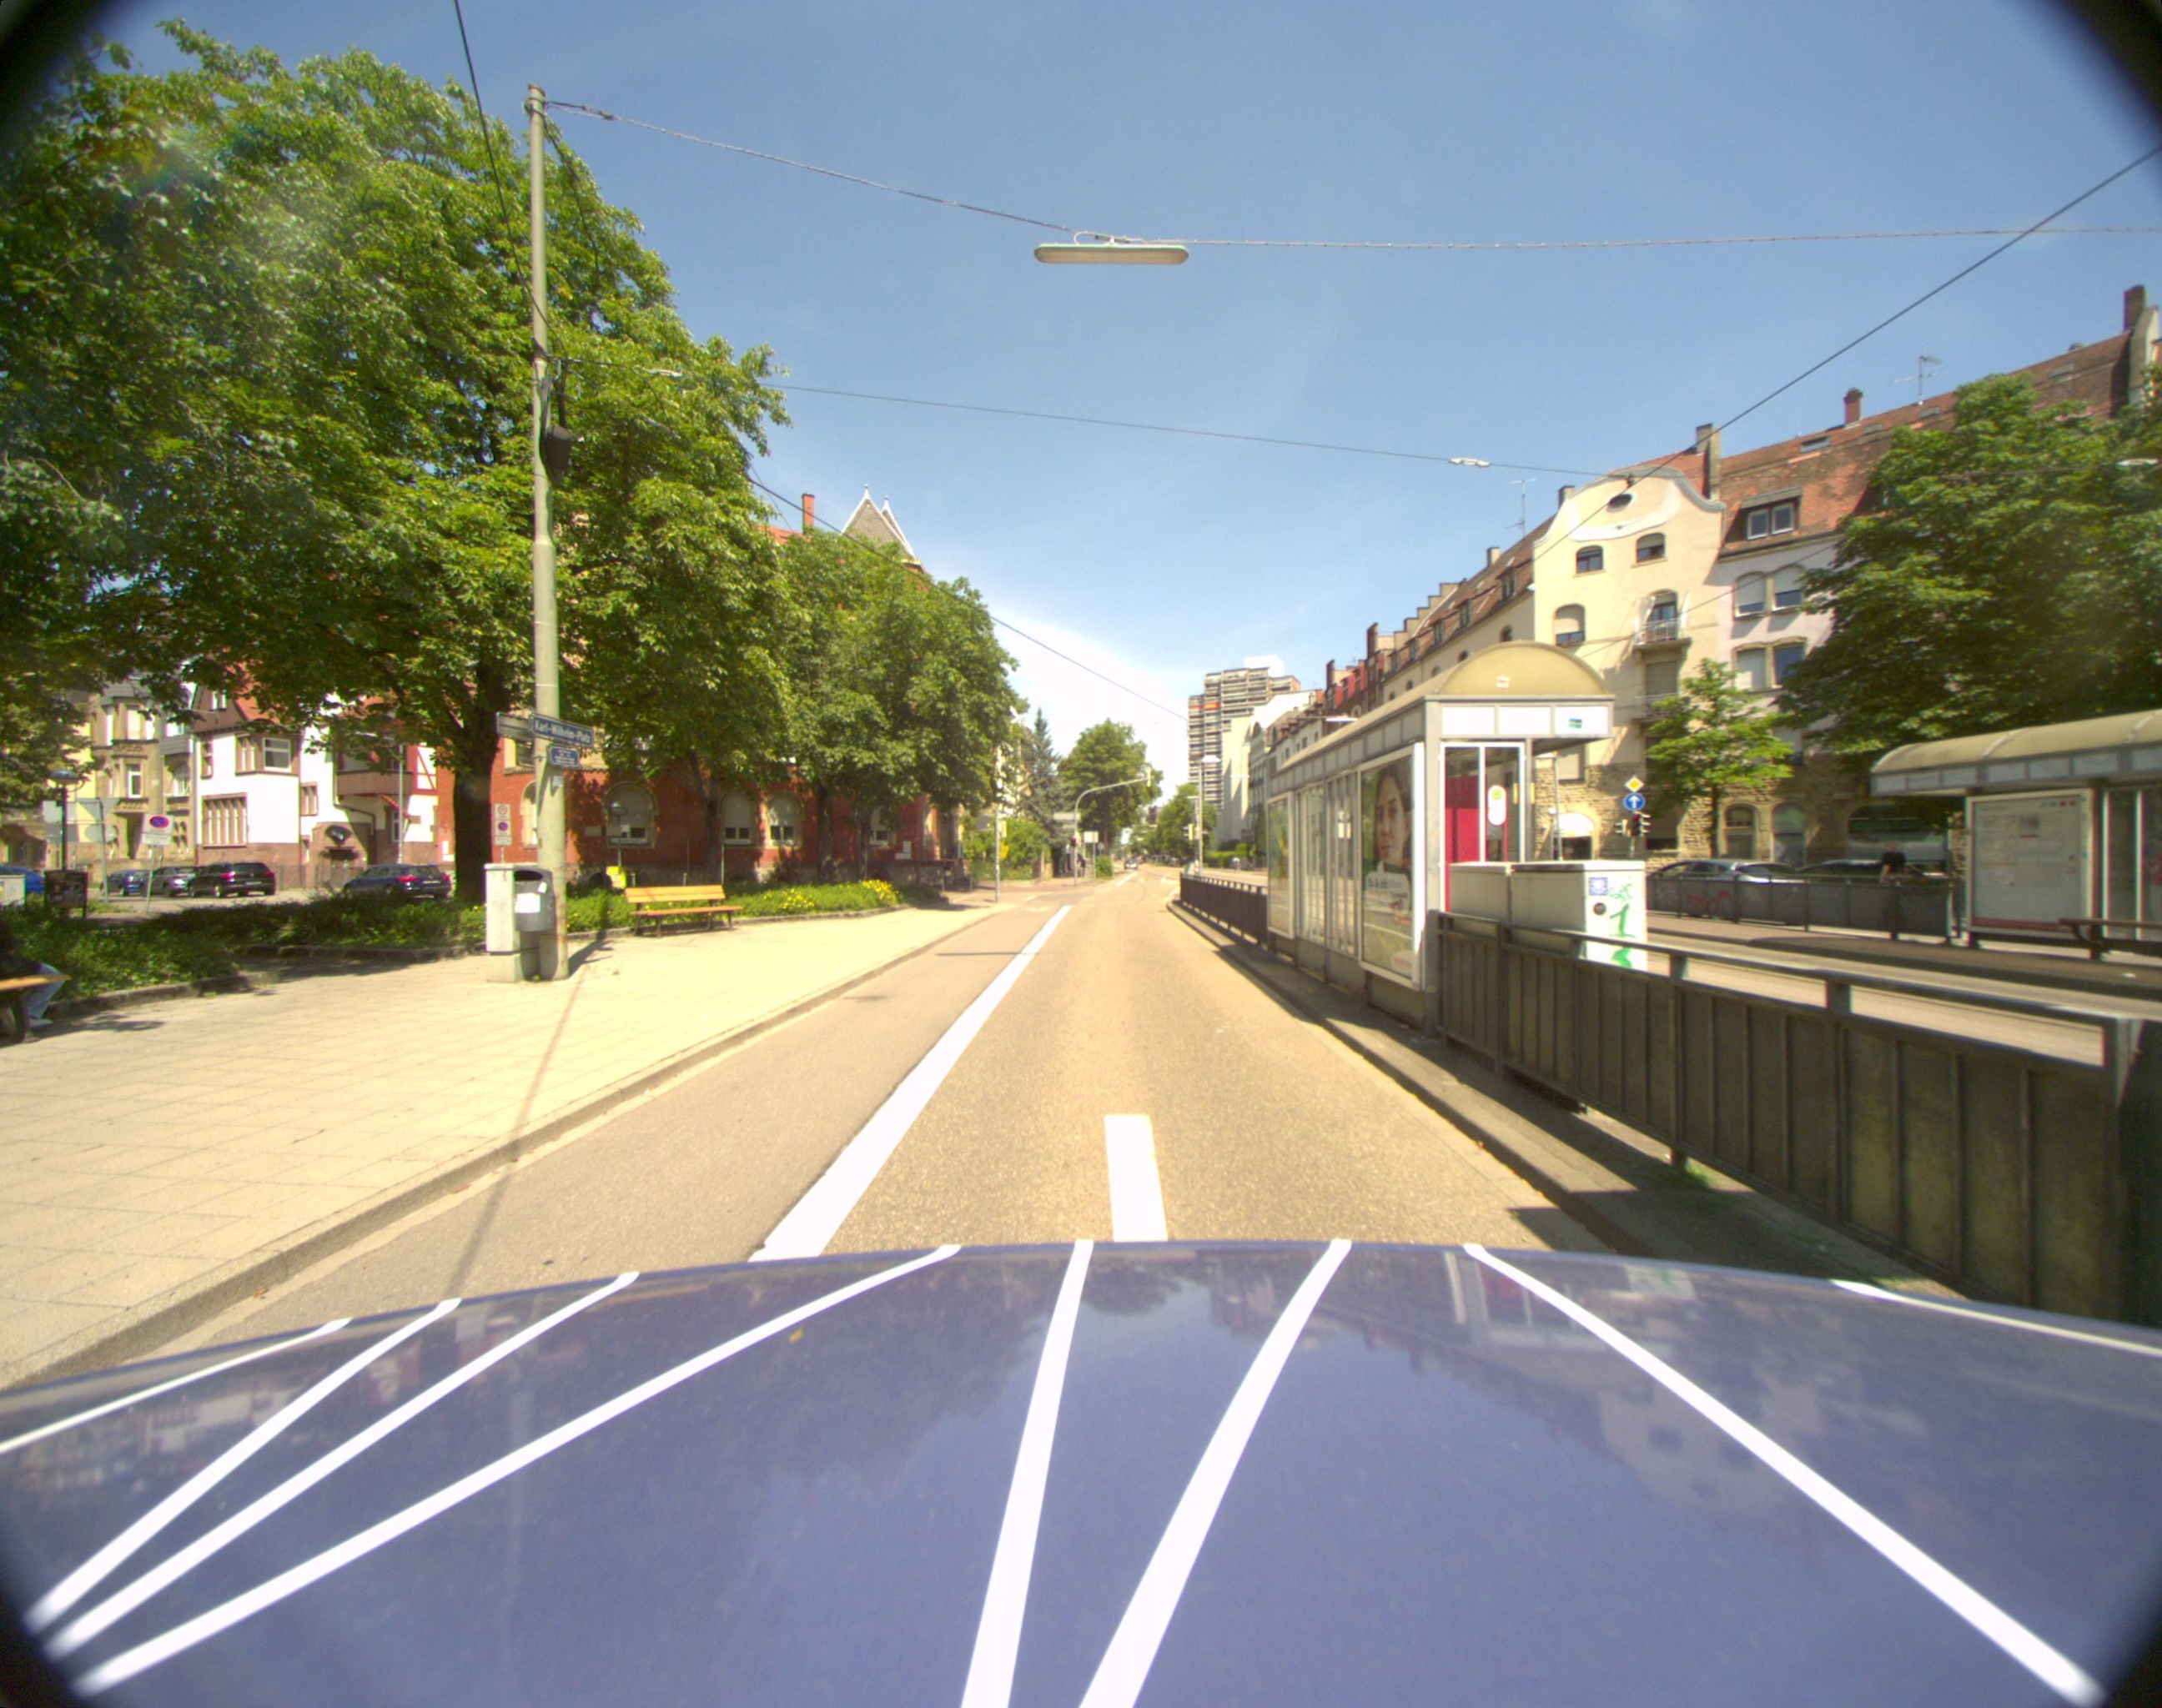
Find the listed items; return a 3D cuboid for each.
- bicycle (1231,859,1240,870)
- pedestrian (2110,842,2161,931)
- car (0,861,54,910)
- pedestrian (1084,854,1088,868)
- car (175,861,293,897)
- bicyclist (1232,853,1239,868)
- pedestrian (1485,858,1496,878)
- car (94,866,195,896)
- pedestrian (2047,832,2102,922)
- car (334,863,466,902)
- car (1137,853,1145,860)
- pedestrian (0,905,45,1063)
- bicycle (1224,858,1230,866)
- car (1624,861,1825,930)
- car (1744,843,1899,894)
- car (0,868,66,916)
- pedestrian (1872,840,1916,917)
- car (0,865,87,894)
[{"bbox_3d":[16.178,1.093,79.657,0.629,1.150,1.978,-1,0,1],"label":"bicycle"},{"bbox_3d":[19.913,0.583,14.062,0.681,1.596,0.773,-1,1,-2],"label":"pedestrian"},{"bbox_3d":[-37.188,1.043,24.657,1.723,1.642,4.273,-1,-1,20],"label":"car"},{"bbox_3d":[0.616,0.899,95.090,0.547,1.683,0.755,0,1,1],"label":"pedestrian"},{"bbox_3d":[-40.019,1.166,35.889,5.477,1.523,1.991,-1,1,22],"label":"car"},{"bbox_3d":[16.189,0.712,79.592,0.609,1.565,0.585,-1,1,1],"label":"bicyclist"},{"bbox_3d":[23.051,0.784,42.775,0.406,1.142,0.405,-1,1,-2],"label":"pedestrian"},{"bbox_3d":[-48.888,1.392,39.676,4.605,1.456,1.908,-1,1,21],"label":"car"},{"bbox_3d":[20.937,0.473,16.020,0.511,1.868,0.494,-1,1,6],"label":"pedestrian"},{"bbox_3d":[-27.209,1.119,30.348,4.748,1.433,1.908,-1,1,21],"label":"car"},{"bbox_3d":[15.984,0.643,202.128,1.848,1.926,4.823,1,1,2],"label":"car"},{"bbox_3d":[-7.802,0.912,5.294,0.510,1.085,0.478,1,0,7],"label":"pedestrian"},{"bbox_3d":[19.163,1.039,99.844,0.493,1.090,2.047,-1,0,1],"label":"bicycle"},{"bbox_3d":[14.740,0.880,17.695,1.544,1.331,3.718,-1,1,0],"label":"car"},{"bbox_3d":[24.433,0.458,25.243,3.577,1.566,1.586,-1,1,40],"label":"car"},{"bbox_3d":[-32.909,1.127,22.002,1.723,1.421,3.895,-1,-1,20],"label":"car"},{"bbox_3d":[19.473,0.582,18.203,0.511,1.812,0.494,-1,1,3],"label":"pedestrian"},{"bbox_3d":[-59.599,1.452,43.592,4.391,1.547,1.908,-1,1,21],"label":"car"}]
